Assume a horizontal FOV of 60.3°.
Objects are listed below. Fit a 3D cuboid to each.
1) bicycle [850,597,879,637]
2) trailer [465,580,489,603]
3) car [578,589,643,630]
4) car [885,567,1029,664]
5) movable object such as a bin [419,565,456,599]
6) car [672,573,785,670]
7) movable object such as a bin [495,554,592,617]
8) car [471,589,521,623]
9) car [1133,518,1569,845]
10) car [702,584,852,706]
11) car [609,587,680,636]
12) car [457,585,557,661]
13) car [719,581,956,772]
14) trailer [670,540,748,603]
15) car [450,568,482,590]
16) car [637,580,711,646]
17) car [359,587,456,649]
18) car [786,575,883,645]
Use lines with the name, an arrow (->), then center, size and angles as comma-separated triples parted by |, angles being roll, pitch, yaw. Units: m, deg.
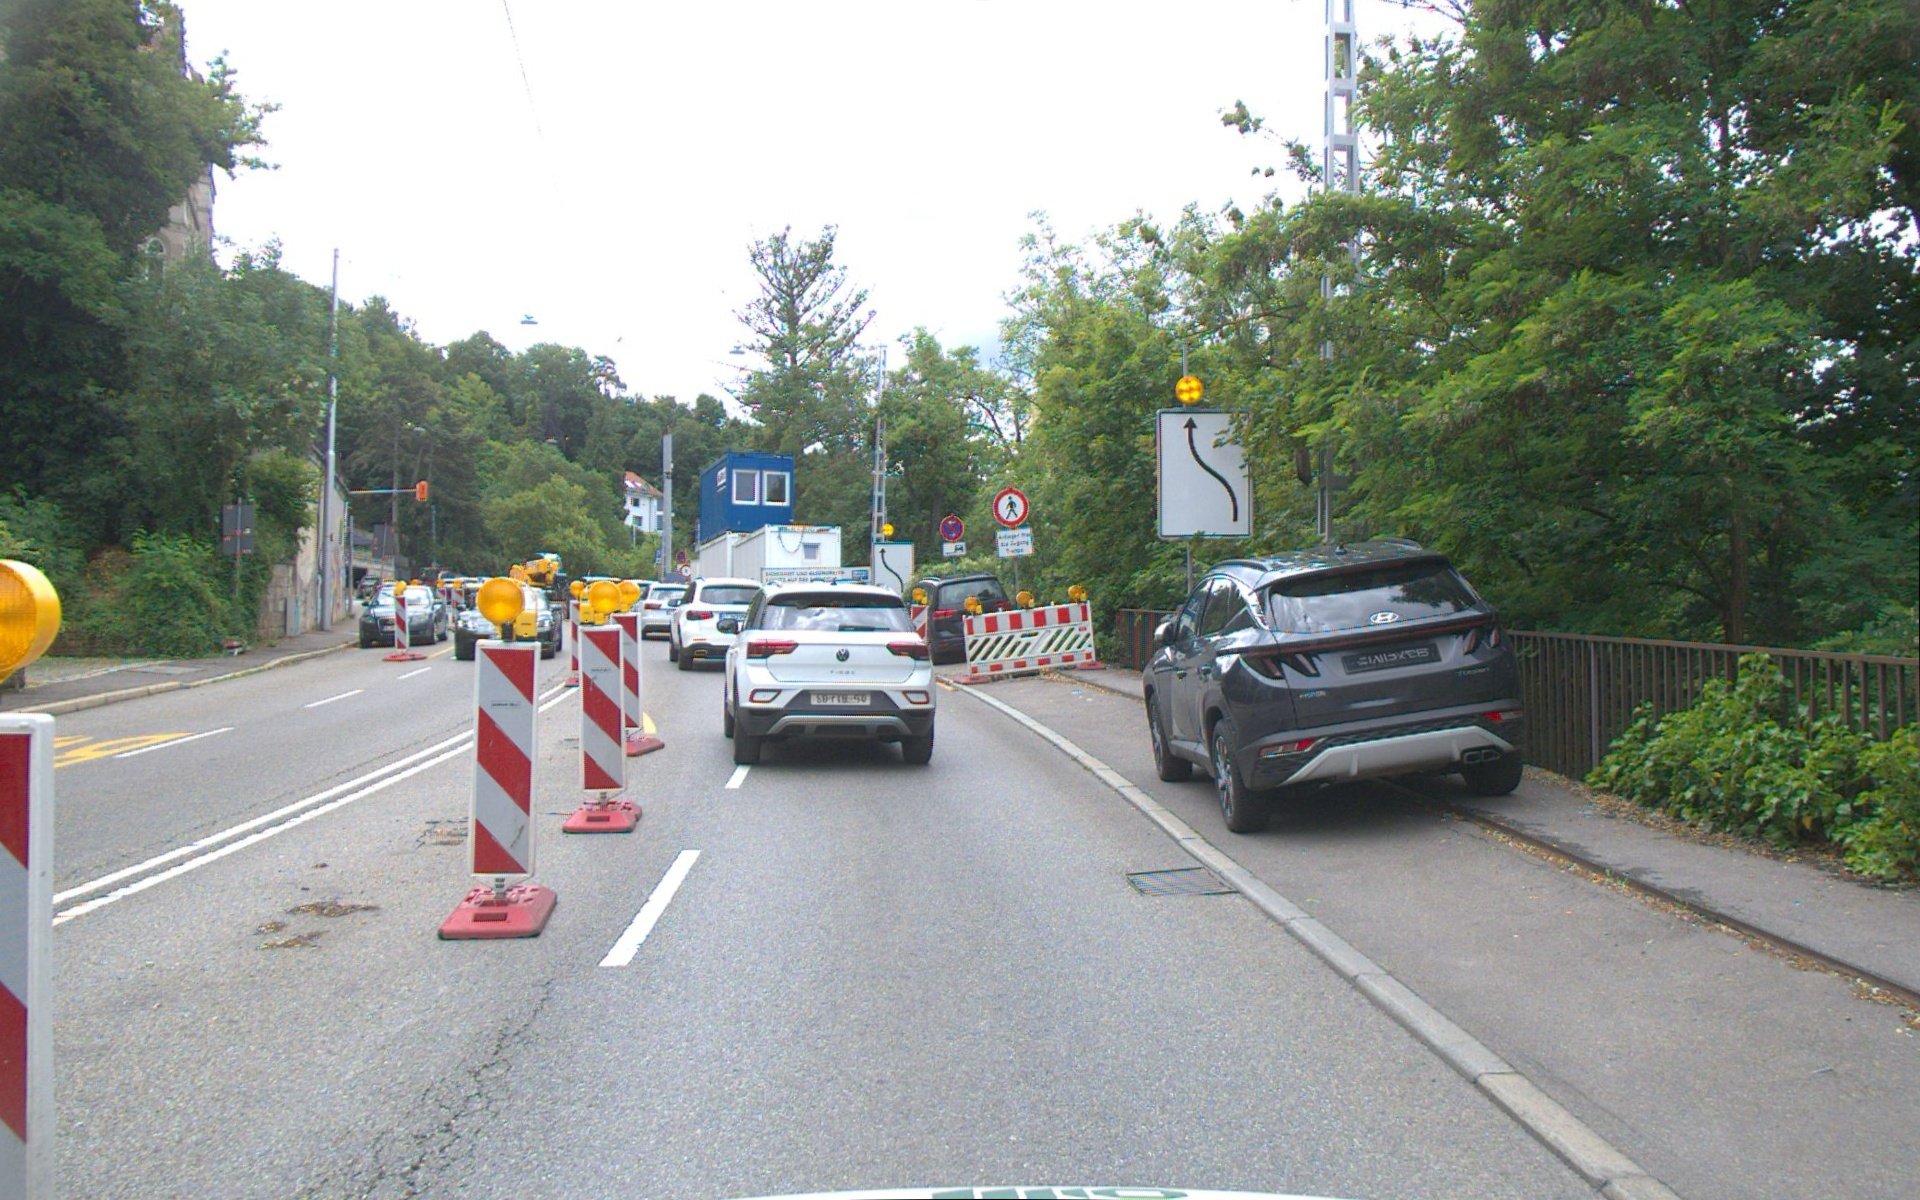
bicycle -> -2.848, 0.496, 49.179 | 0.490, 1.127, 1.793 | -2, 1, -15
trailer -> -33.111, -0.590, 113.259 | 1.270, 1.501, 3.611 | 2, 0, -21
car -> -13.604, 0.343, 64.265 | 1.770, 1.536, 3.972 | 0, 0, -23
car -> -0.141, 0.278, 33.844 | 1.831, 1.703, 4.630 | -4, 1, -14
movable object such as a bin -> -42.938, -1.449, 135.974 | 2.171, 2.709, 4.933 | 2, 0, -10
car -> -4.384, 0.366, 30.865 | 1.778, 1.692, 3.987 | 0, 0, -12
movable object such as a bin -> -22.222, -0.797, 87.972 | 2.783, 3.124, 7.740 | 3, 0, -31
car -> -21.589, 0.259, 76.910 | 1.770, 1.536, 3.972 | 0, 0, -23
car -> 2.461, 0.447, 11.583 | 1.817, 1.702, 4.278 | -5, 1, -2
car -> -2.650, 0.563, 23.252 | 1.777, 1.558, 3.989 | 1, 0, -11
car -> -10.487, 0.357, 54.744 | 1.767, 1.536, 3.978 | 0, 0, -19
car -> -9.254, 0.424, 34.067 | 1.790, 1.415, 4.423 | -1, 1, -13
car -> -1.286, 0.615, 15.610 | 1.777, 1.558, 3.989 | 1, 0, -11
trailer -> -10.801, -1.215, 70.788 | 2.079, 2.594, 5.081 | -1, 1, -23
car -> -36.150, -1.523, 120.927 | 1.770, 1.537, 3.971 | 1, 0, -23
car -> -7.746, 0.312, 44.566 | 1.778, 1.692, 3.987 | 0, 0, -12
car -> -13.608, 0.394, 40.959 | 1.768, 1.397, 4.375 | -1, 1, -12
car -> -3.416, 0.224, 44.216 | 1.808, 1.671, 4.486 | -3, 1, -14
